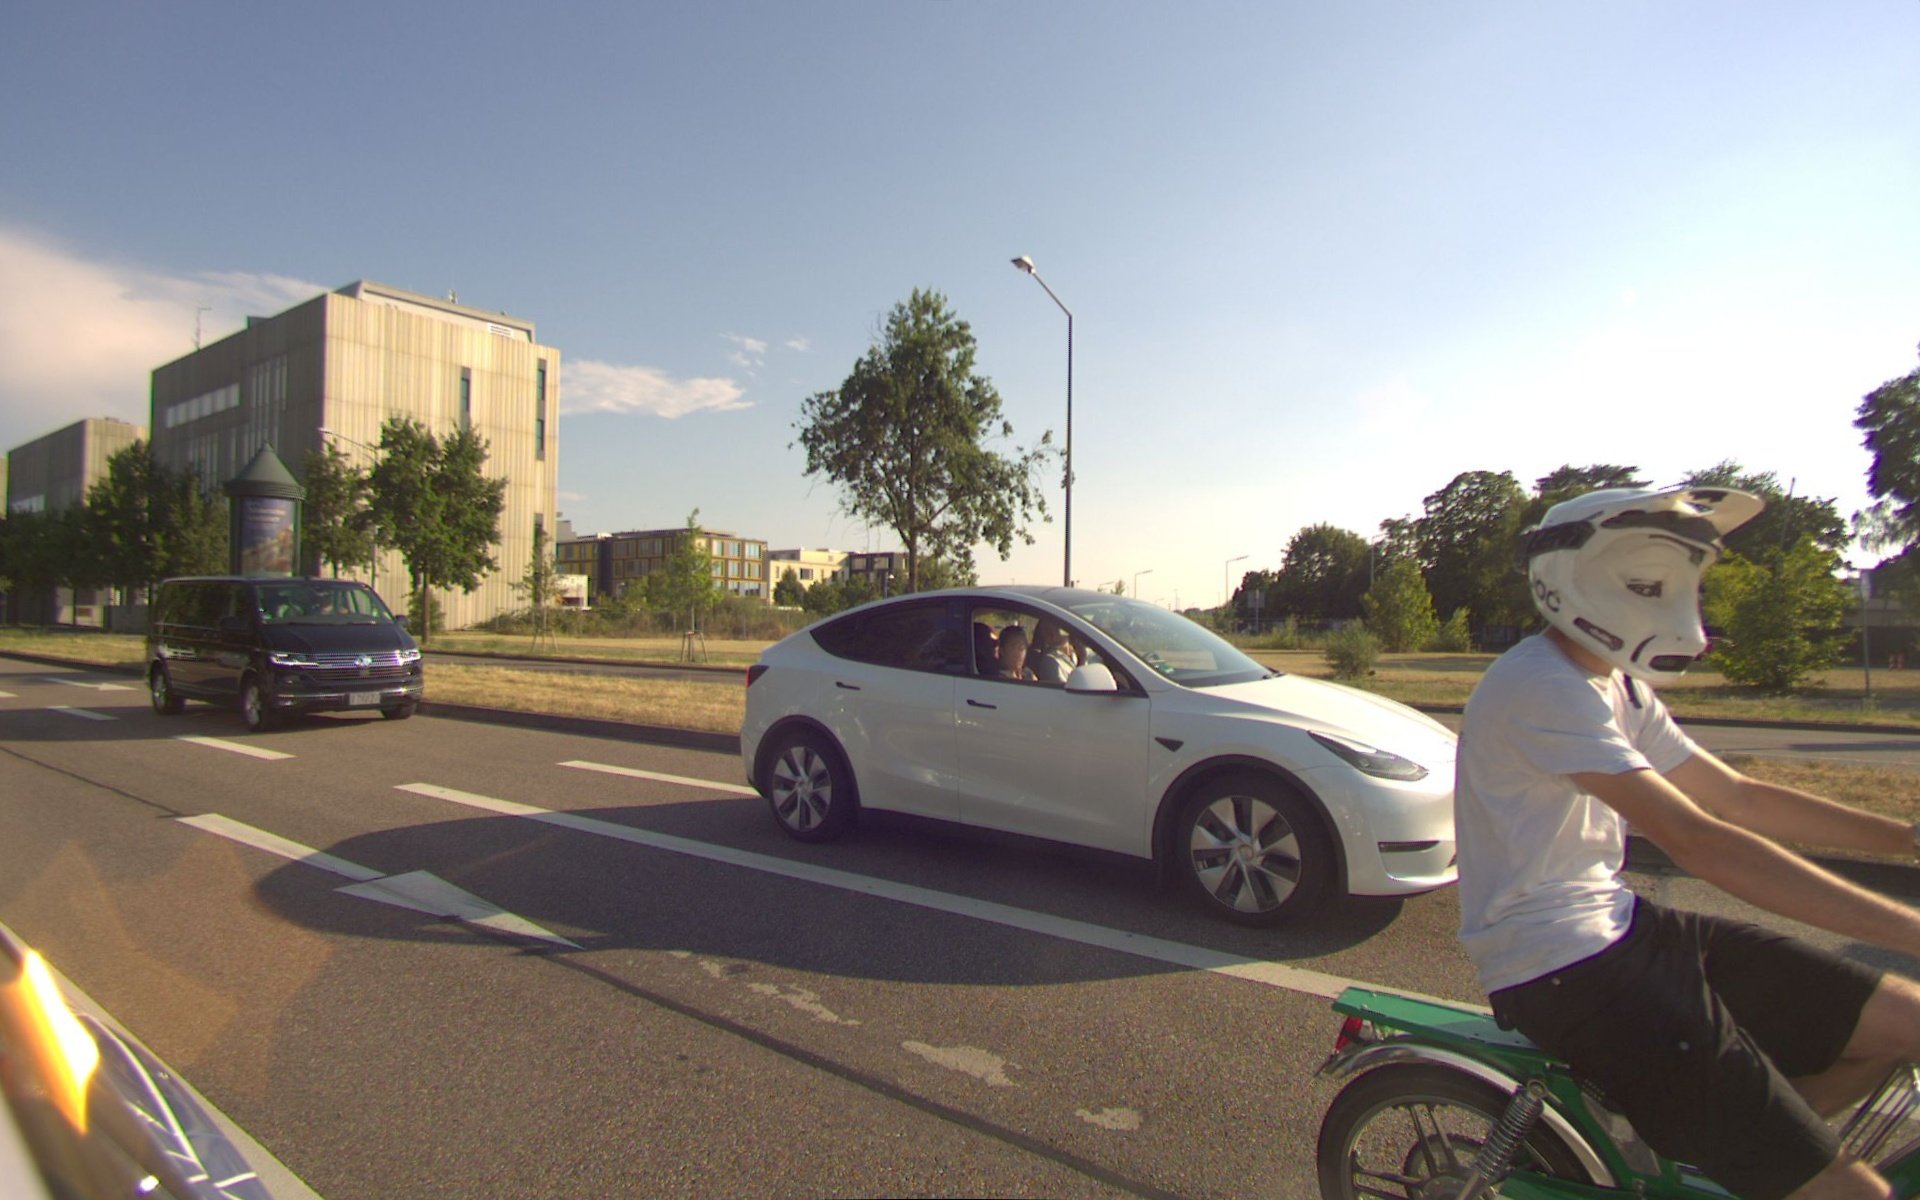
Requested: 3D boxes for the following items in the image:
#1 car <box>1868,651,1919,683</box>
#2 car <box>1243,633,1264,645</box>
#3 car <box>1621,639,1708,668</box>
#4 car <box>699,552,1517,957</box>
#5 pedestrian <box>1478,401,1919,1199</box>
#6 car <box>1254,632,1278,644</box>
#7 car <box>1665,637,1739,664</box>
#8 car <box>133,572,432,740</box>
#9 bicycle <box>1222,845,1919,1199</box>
[{"bbox_3d":[48.454,3.359,50.465,1.628,1.537,4.415,1,-2,-21],"label":"car"},{"bbox_3d":[35.190,4.704,121.334,1.622,1.298,3.218,-1,0,2],"label":"car"},{"bbox_3d":[39.239,2.940,56.469,1.629,1.537,3.952,1,-2,-10],"label":"car"},{"bbox_3d":[0.606,0.654,6.138,4.669,1.611,1.719,-1,-1,37],"label":"car"},{"bbox_3d":[1.374,0.519,1.593,0.854,1.530,0.649,-1,-3,41],"label":"pedestrian"},{"bbox_3d":[32.005,3.982,105.912,1.315,1.302,2.810,1,-2,-10],"label":"car"},{"bbox_3d":[43.877,2.961,59.933,1.557,1.558,3.383,1,-2,-10],"label":"car"},{"bbox_3d":[-9.447,0.667,13.943,5.003,1.947,1.839,-1,-1,36],"label":"car"},{"bbox_3d":[1.362,0.987,1.540,1.855,0.882,0.472,-1,-3,41],"label":"bicycle"}]
